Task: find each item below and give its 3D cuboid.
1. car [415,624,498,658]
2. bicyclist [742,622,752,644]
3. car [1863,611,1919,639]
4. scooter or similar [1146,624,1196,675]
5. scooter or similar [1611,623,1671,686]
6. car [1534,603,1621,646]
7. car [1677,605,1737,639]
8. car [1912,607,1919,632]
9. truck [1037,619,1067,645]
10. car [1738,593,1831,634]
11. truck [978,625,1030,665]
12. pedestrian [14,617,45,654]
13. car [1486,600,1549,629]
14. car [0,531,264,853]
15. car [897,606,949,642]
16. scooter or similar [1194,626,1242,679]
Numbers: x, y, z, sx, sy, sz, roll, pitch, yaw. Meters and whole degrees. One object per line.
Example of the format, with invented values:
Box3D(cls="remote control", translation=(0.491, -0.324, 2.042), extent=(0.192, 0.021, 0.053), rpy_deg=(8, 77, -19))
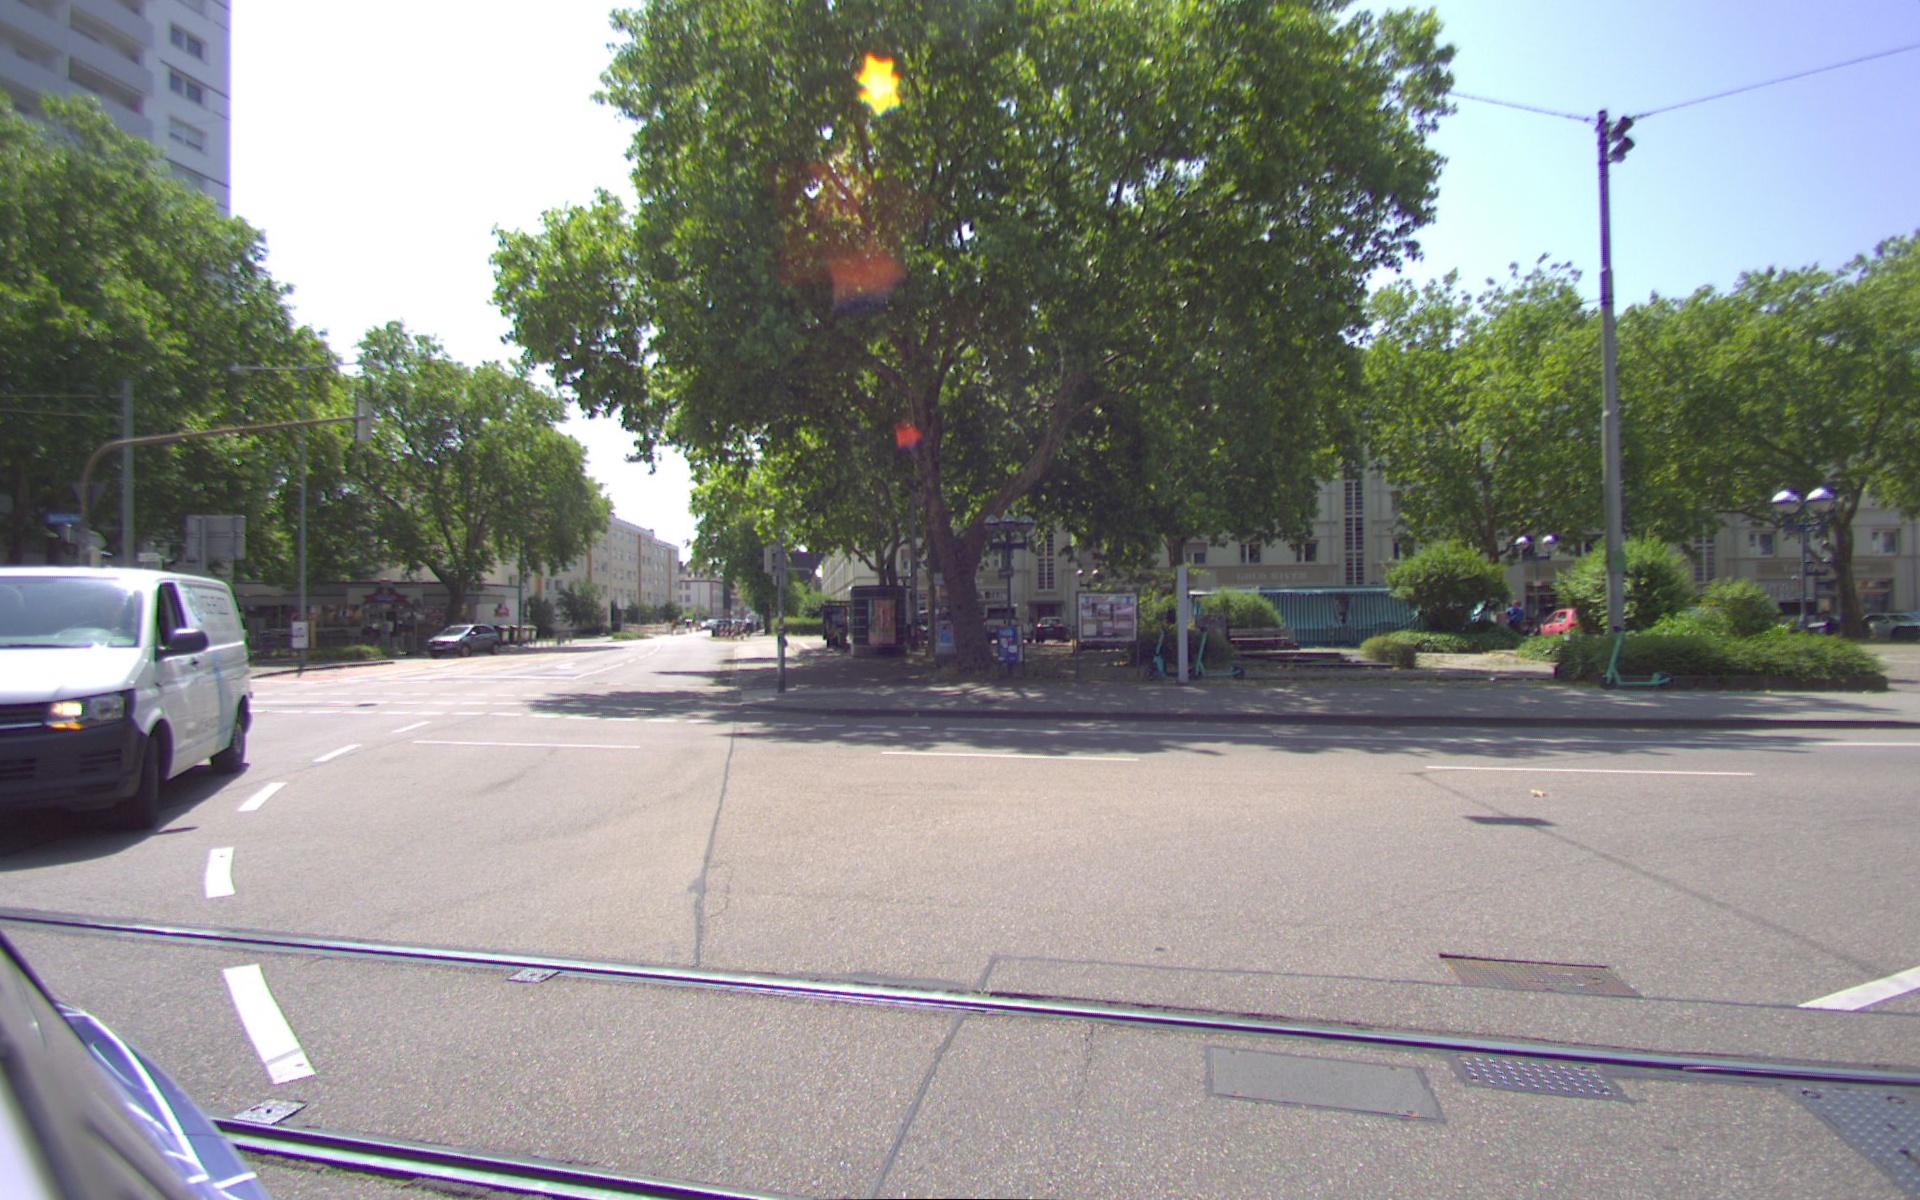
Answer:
Box3D(cls="car", translation=(-24.714, 1.975, 49.855), extent=(1.921, 1.472, 4.054), rpy_deg=(-1, 0, 3))
Box3D(cls="bicyclist", translation=(-17.493, 2.732, 83.068), extent=(0.695, 1.748, 0.788), rpy_deg=(-1, 0, -3))
Box3D(cls="car", translation=(46.484, 1.180, 49.297), extent=(1.901, 1.264, 3.839), rpy_deg=(-1, 0, 9))
Box3D(cls="scooter or similar", translation=(4.697, 1.100, 22.536), extent=(1.030, 1.129, 0.255), rpy_deg=(-1, -1, 25))
Box3D(cls="scooter or similar", translation=(12.418, 0.991, 18.464), extent=(0.855, 1.129, 0.255), rpy_deg=(-1, 0, 25))
Box3D(cls="car", translation=(21.503, 0.832, 35.366), extent=(1.457, 1.394, 3.333), rpy_deg=(-1, 0, 11))
Box3D(cls="car", translation=(45.167, 1.291, 61.292), extent=(1.559, 1.964, 3.908), rpy_deg=(-1, 0, 15))
Box3D(cls="car", translation=(49.061, 0.955, 49.404), extent=(1.901, 1.265, 3.839), rpy_deg=(-1, -1, 9))
Box3D(cls="truck", translation=(5.304, 1.834, 58.122), extent=(1.453, 1.388, 2.973), rpy_deg=(-1, 0, 10))
Box3D(cls="car", translation=(41.418, 0.662, 50.952), extent=(2.146, 1.964, 3.981), rpy_deg=(-1, 0, 15))
Box3D(cls="truck", translation=(2.648, 2.620, 59.473), extent=(1.949, 2.138, 4.347), rpy_deg=(-1, 0, 18))
Box3D(cls="pedestrian", translation=(-35.582, 1.352, 38.714), extent=(0.586, 1.375, 0.638), rpy_deg=(-1, -1, 6))
Box3D(cls="car", translation=(22.452, 0.578, 40.817), extent=(1.342, 1.106, 2.731), rpy_deg=(-1, 0, 9))
Box3D(cls="car", translation=(-7.250, 0.610, 8.276), extent=(1.821, 1.968, 4.959), rpy_deg=(0, -1, -26))
Box3D(cls="car", translation=(-2.174, 1.403, 60.478), extent=(1.982, 2.029, 3.980), rpy_deg=(-1, 0, 16))
Box3D(cls="scooter or similar", translation=(5.610, 1.133, 22.021), extent=(0.971, 1.129, 0.255), rpy_deg=(-1, 0, 25))
